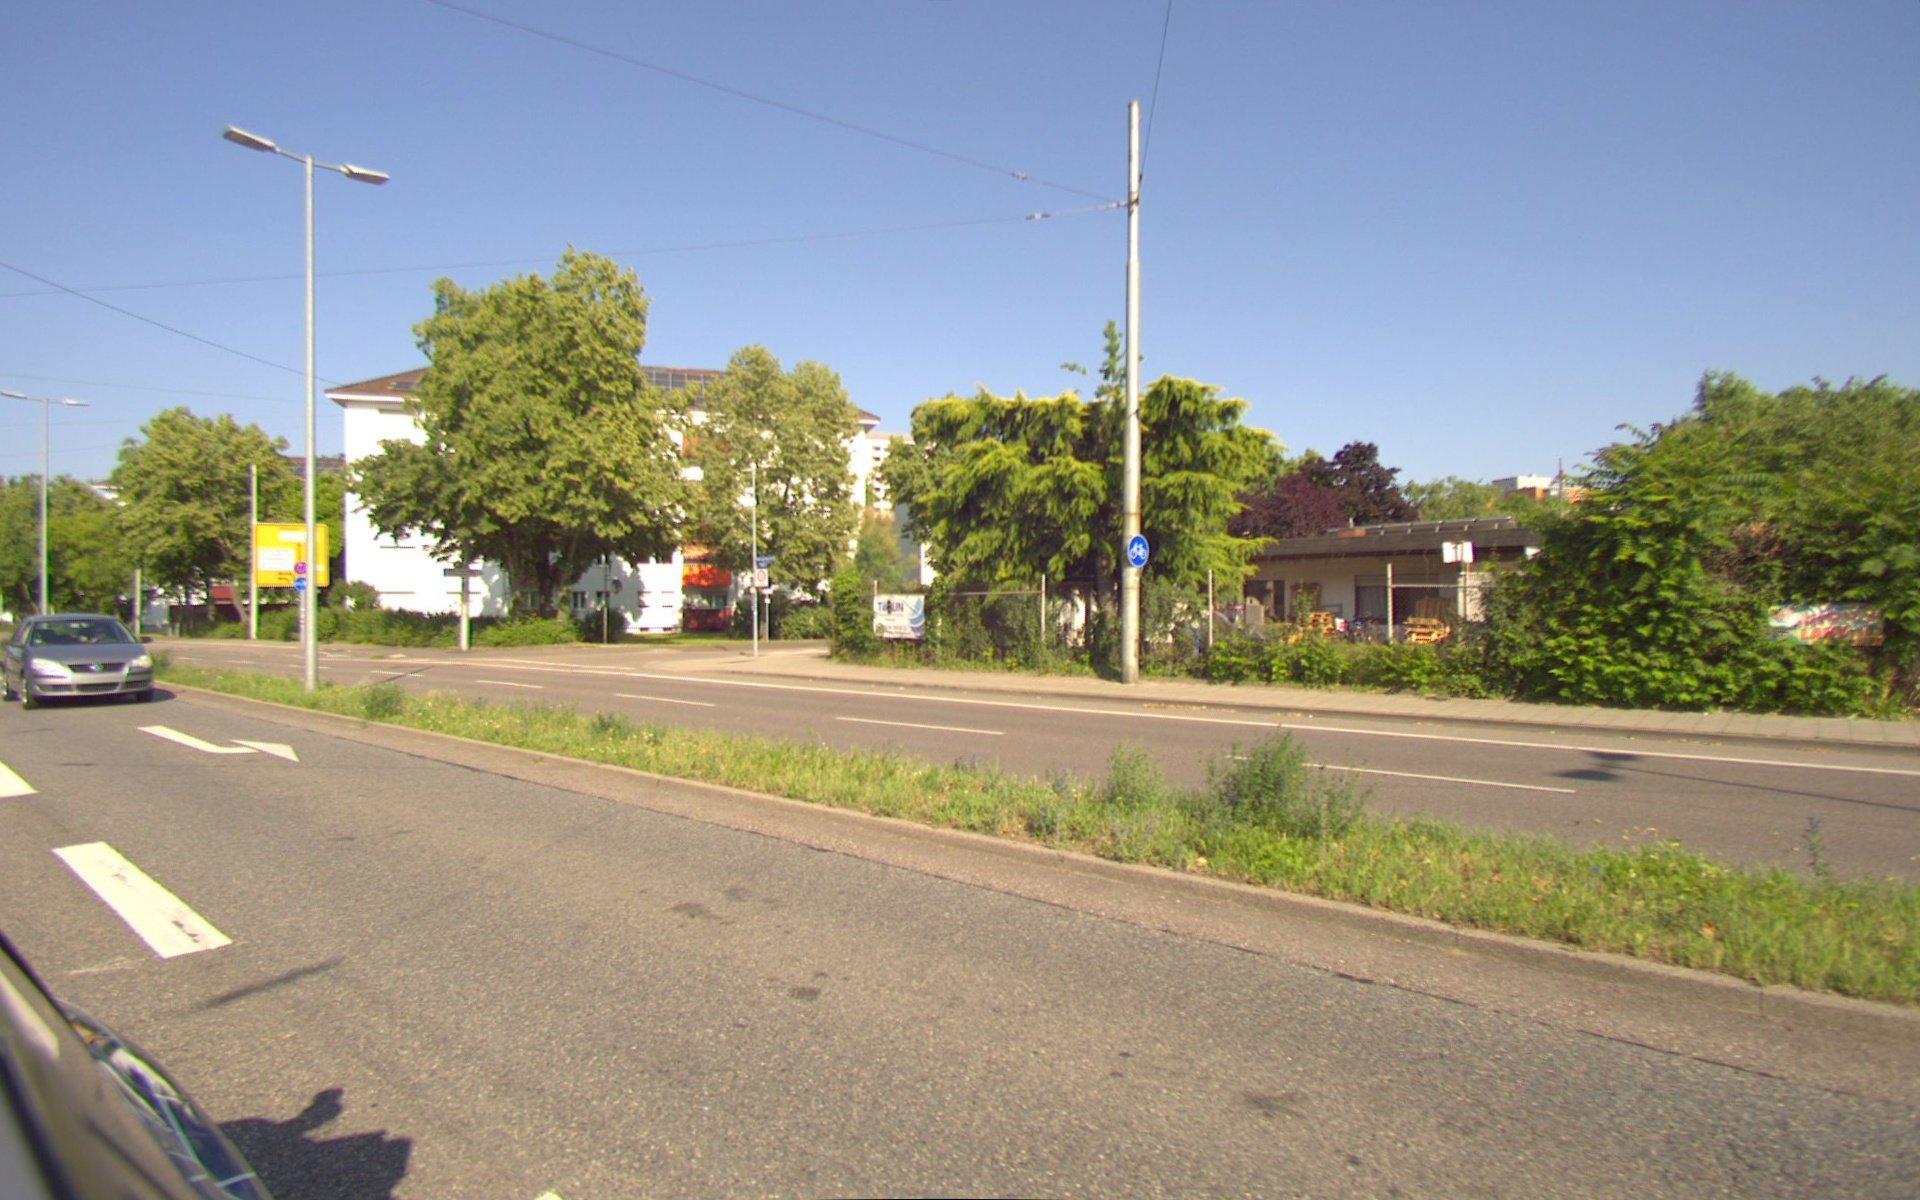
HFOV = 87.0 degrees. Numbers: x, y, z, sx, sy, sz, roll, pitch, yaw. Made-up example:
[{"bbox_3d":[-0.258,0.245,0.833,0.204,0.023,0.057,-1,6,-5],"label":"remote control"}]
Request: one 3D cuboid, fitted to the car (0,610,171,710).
[{"bbox_3d":[-14.824,0.925,16.869,3.826,1.439,1.673,-1,0,37],"label":"car"}]
